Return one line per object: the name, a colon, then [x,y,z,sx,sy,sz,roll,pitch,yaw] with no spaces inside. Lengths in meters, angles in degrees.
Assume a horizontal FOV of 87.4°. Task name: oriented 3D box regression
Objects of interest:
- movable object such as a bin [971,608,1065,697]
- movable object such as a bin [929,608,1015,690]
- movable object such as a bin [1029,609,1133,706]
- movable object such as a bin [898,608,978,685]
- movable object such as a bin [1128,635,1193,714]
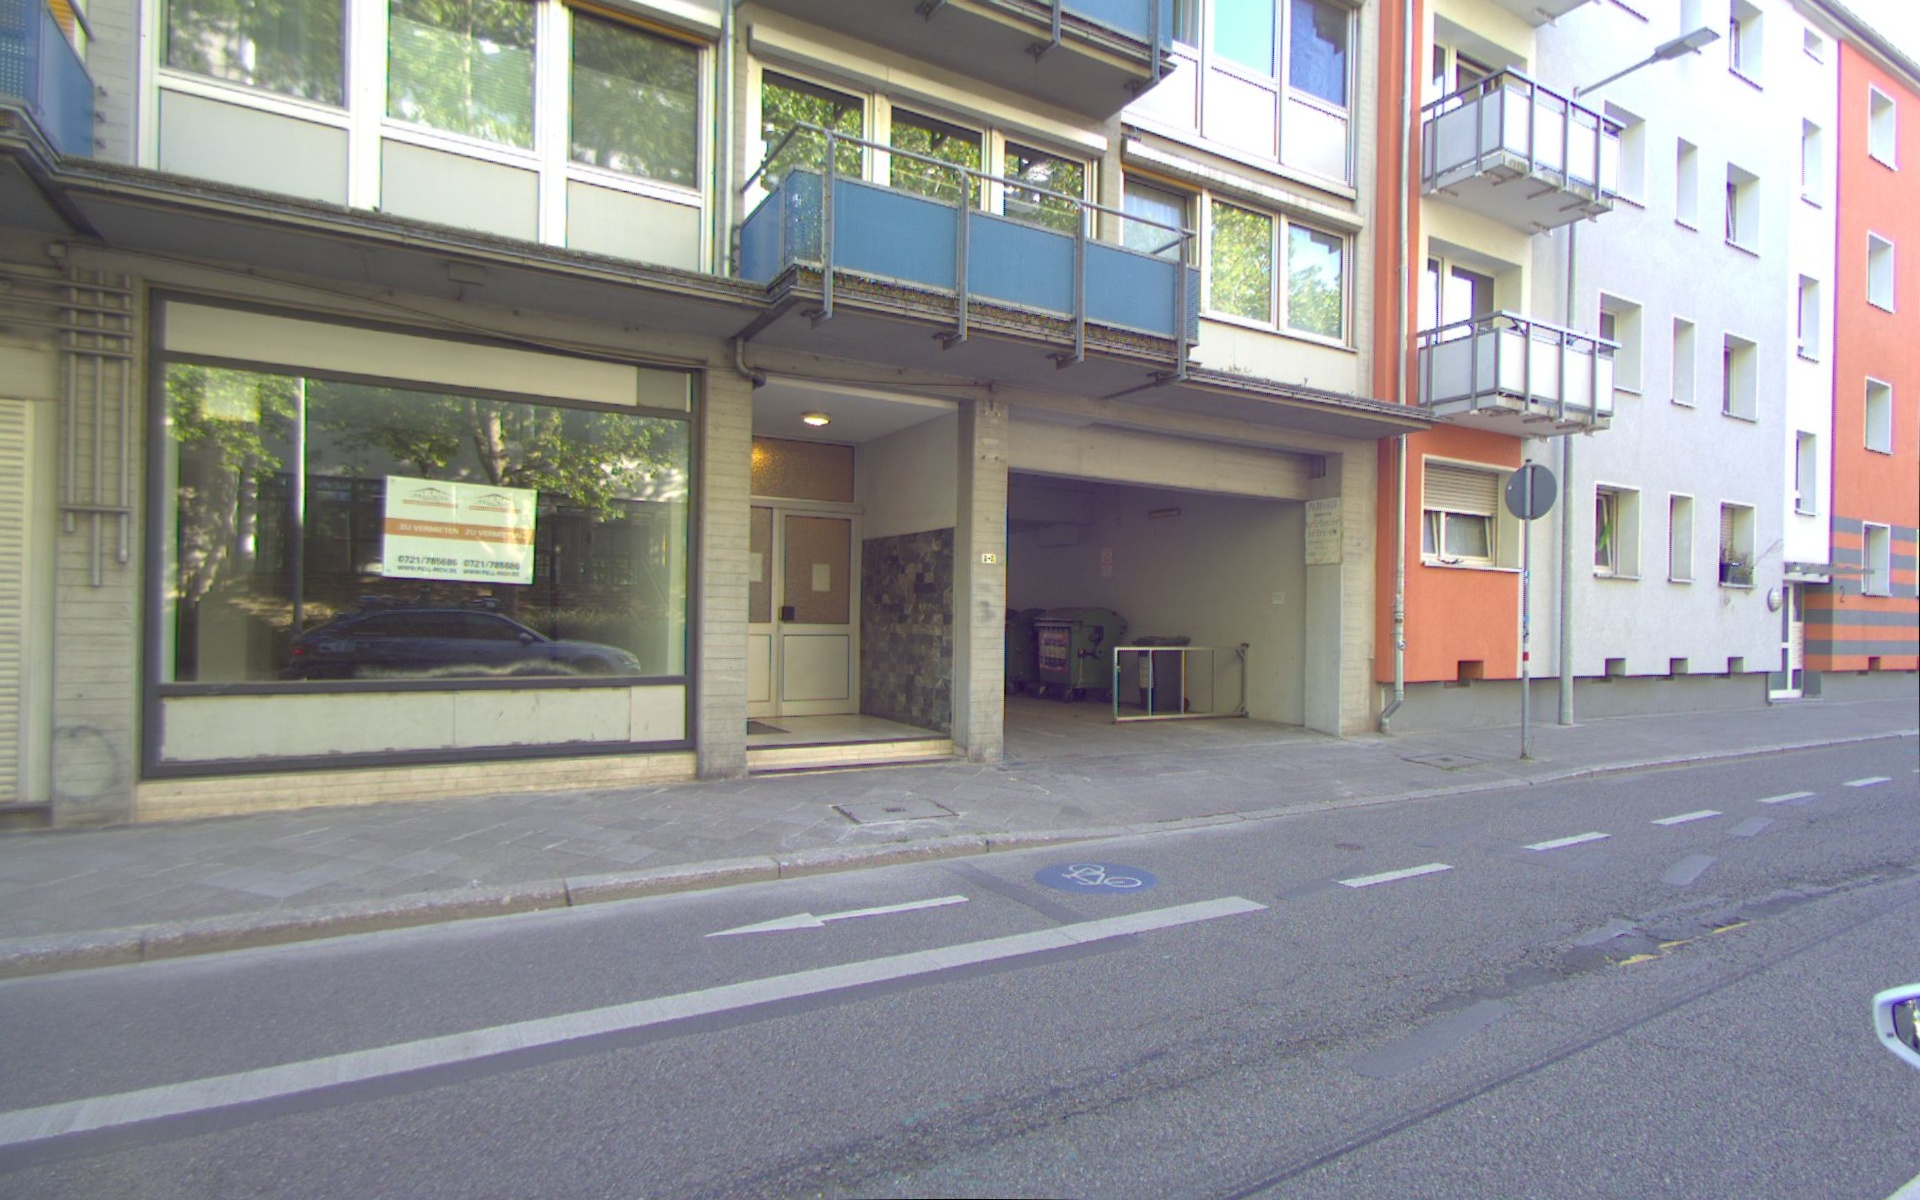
movable object such as a bin: [0.981,0.869,17.168,1.116,1.444,1.201,1,0,-30]
movable object such as a bin: [0.211,0.876,18.466,1.116,1.444,1.201,1,0,-30]
movable object such as a bin: [1.893,0.874,15.809,1.116,1.444,1.201,1,0,-30]
movable object such as a bin: [-0.436,0.883,19.615,1.116,1.444,1.201,1,0,-30]
movable object such as a bin: [2.891,1.055,14.499,0.667,1.079,0.639,1,0,-30]
